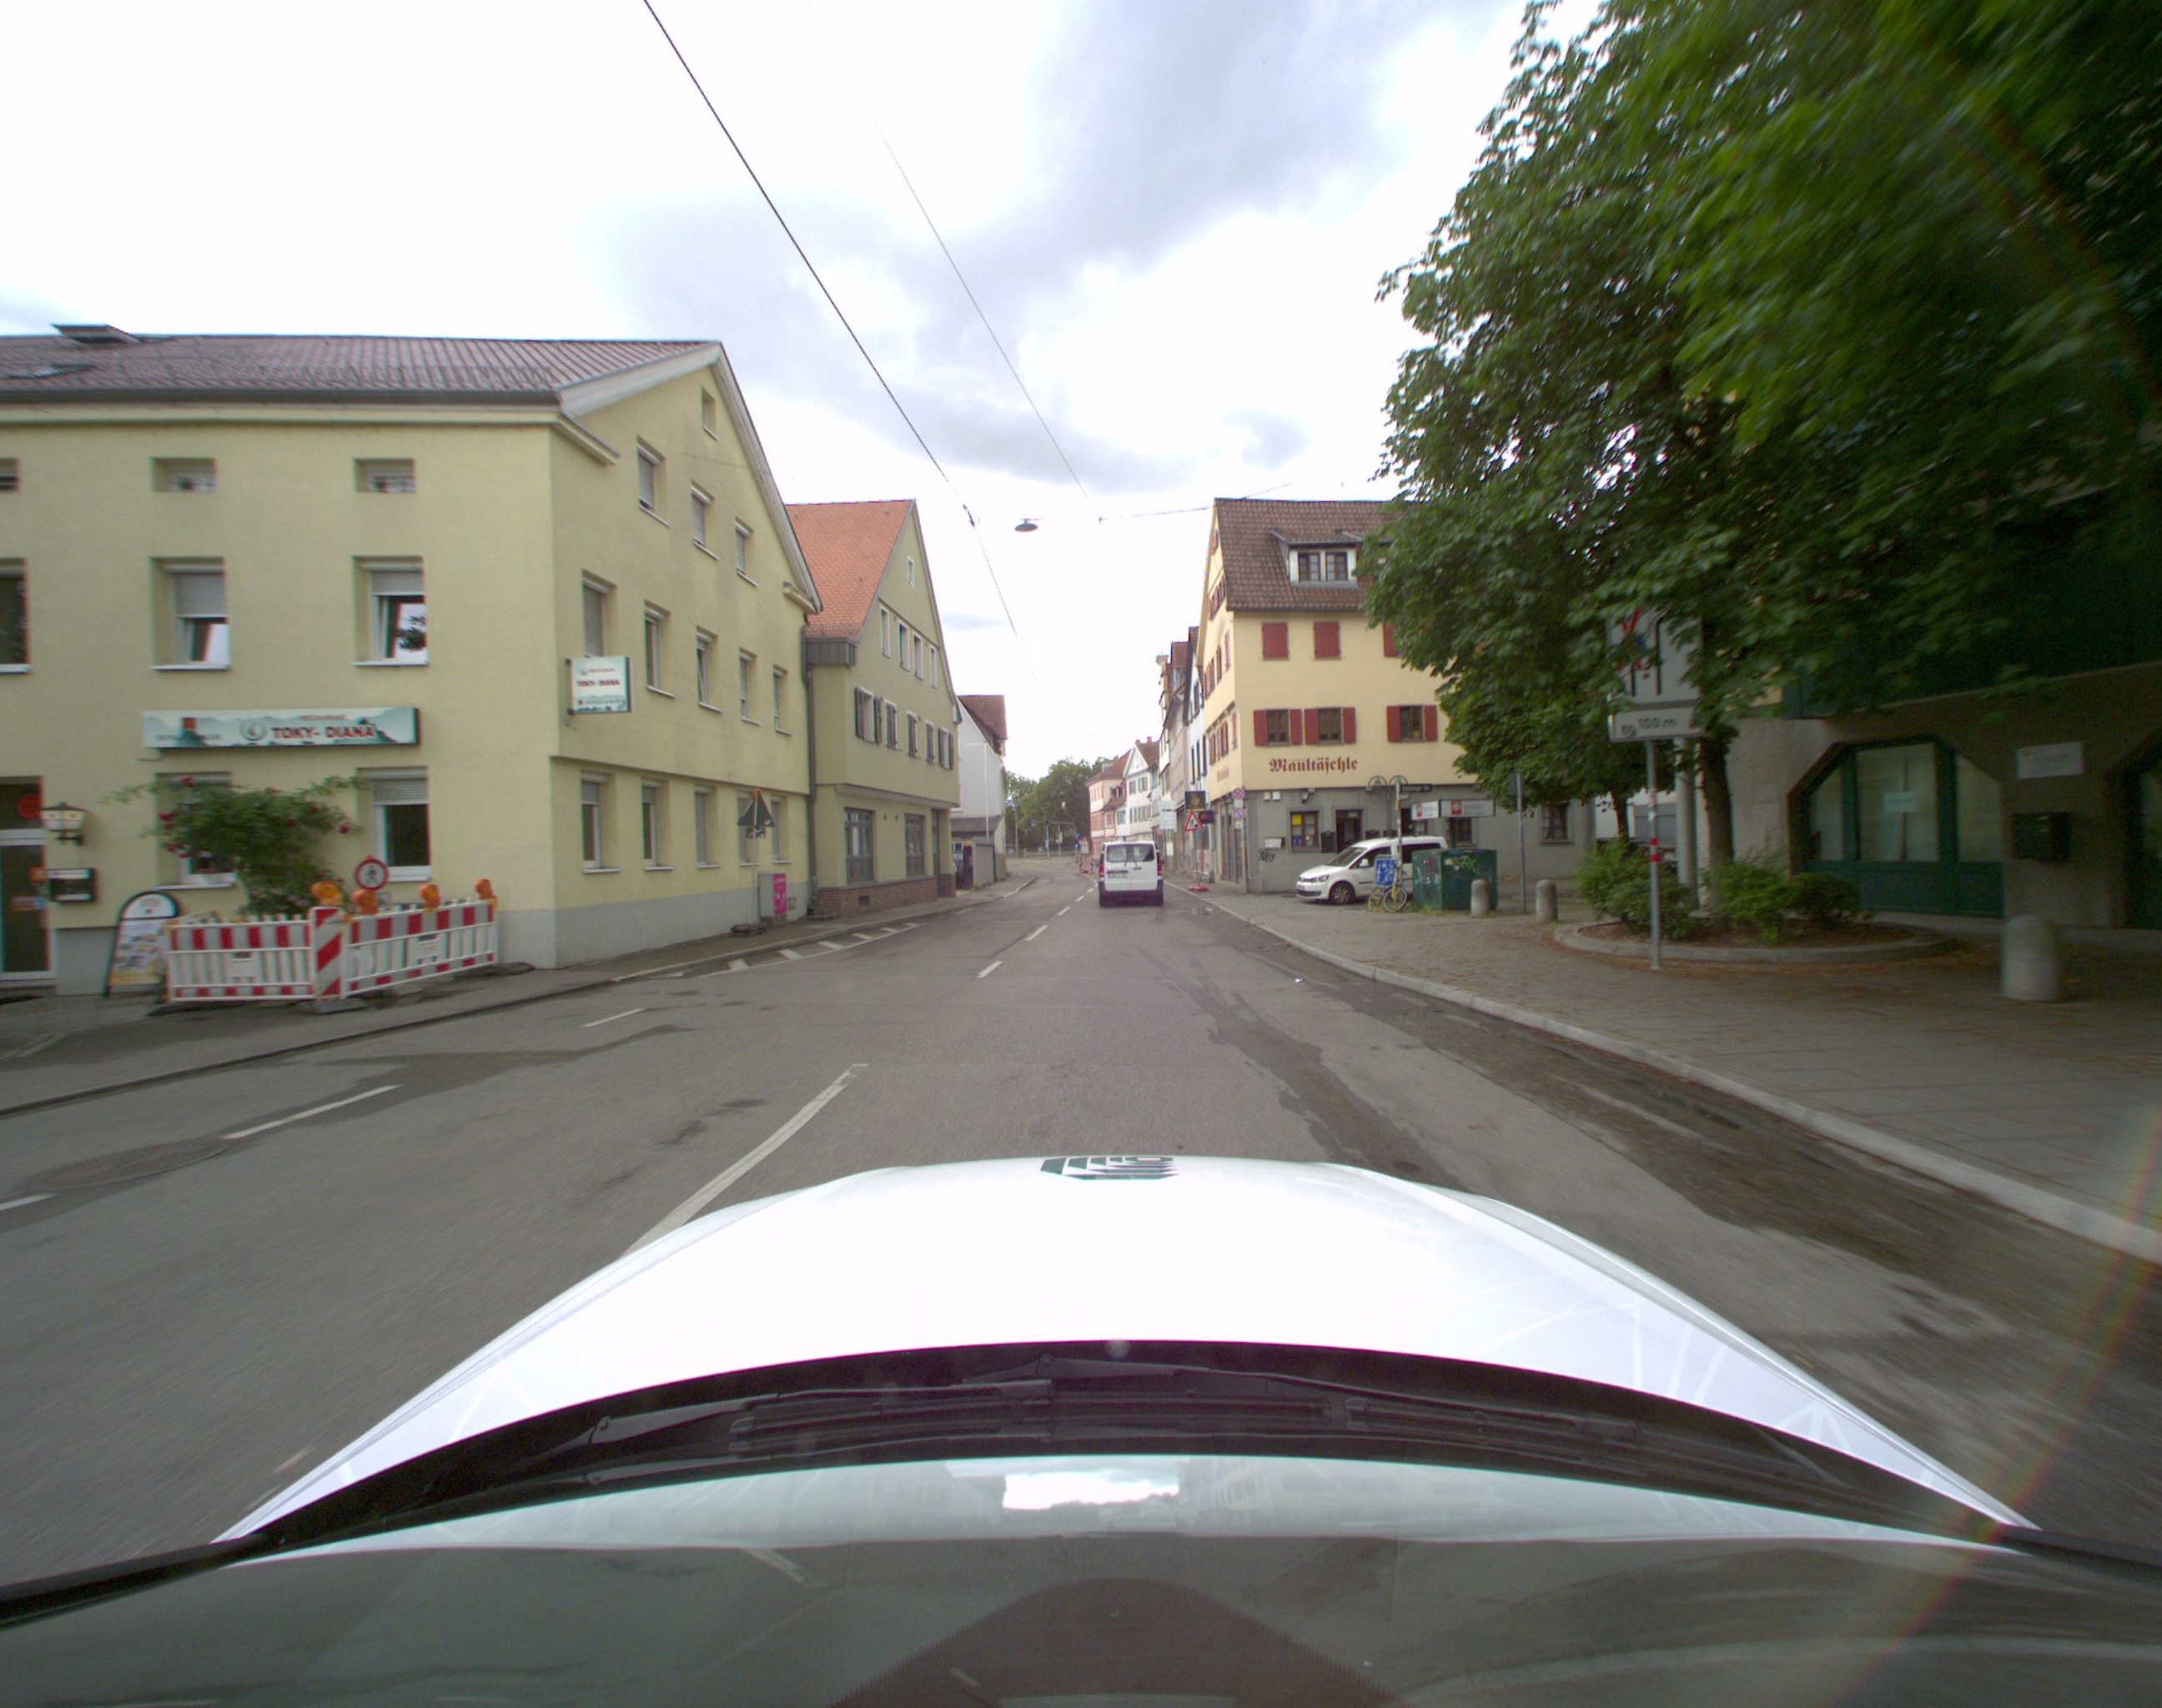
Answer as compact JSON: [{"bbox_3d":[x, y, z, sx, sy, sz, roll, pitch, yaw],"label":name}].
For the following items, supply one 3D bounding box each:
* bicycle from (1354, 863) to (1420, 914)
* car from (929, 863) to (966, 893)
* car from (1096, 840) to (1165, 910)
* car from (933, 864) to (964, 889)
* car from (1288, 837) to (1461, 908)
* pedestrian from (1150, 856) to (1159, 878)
[{"bbox_3d":[7.052,0.769,18.822,0.501,1.106,1.628,-2,-1,-17],"label":"bicycle"},{"bbox_3d":[-6.534,1.152,39.662,1.646,1.354,3.984,-1,-1,-11],"label":"car"},{"bbox_3d":[1.522,0.601,24.792,1.864,1.912,4.004,-2,0,4],"label":"car"},{"bbox_3d":[-7.561,1.247,46.257,1.646,1.354,3.984,-1,-1,-11],"label":"car"},{"bbox_3d":[8.307,0.469,23.248,4.235,1.797,1.845,-2,1,-5],"label":"car"},{"bbox_3d":[6.004,1.047,66.708,0.641,1.747,0.562,-1,-1,-2],"label":"pedestrian"}]
